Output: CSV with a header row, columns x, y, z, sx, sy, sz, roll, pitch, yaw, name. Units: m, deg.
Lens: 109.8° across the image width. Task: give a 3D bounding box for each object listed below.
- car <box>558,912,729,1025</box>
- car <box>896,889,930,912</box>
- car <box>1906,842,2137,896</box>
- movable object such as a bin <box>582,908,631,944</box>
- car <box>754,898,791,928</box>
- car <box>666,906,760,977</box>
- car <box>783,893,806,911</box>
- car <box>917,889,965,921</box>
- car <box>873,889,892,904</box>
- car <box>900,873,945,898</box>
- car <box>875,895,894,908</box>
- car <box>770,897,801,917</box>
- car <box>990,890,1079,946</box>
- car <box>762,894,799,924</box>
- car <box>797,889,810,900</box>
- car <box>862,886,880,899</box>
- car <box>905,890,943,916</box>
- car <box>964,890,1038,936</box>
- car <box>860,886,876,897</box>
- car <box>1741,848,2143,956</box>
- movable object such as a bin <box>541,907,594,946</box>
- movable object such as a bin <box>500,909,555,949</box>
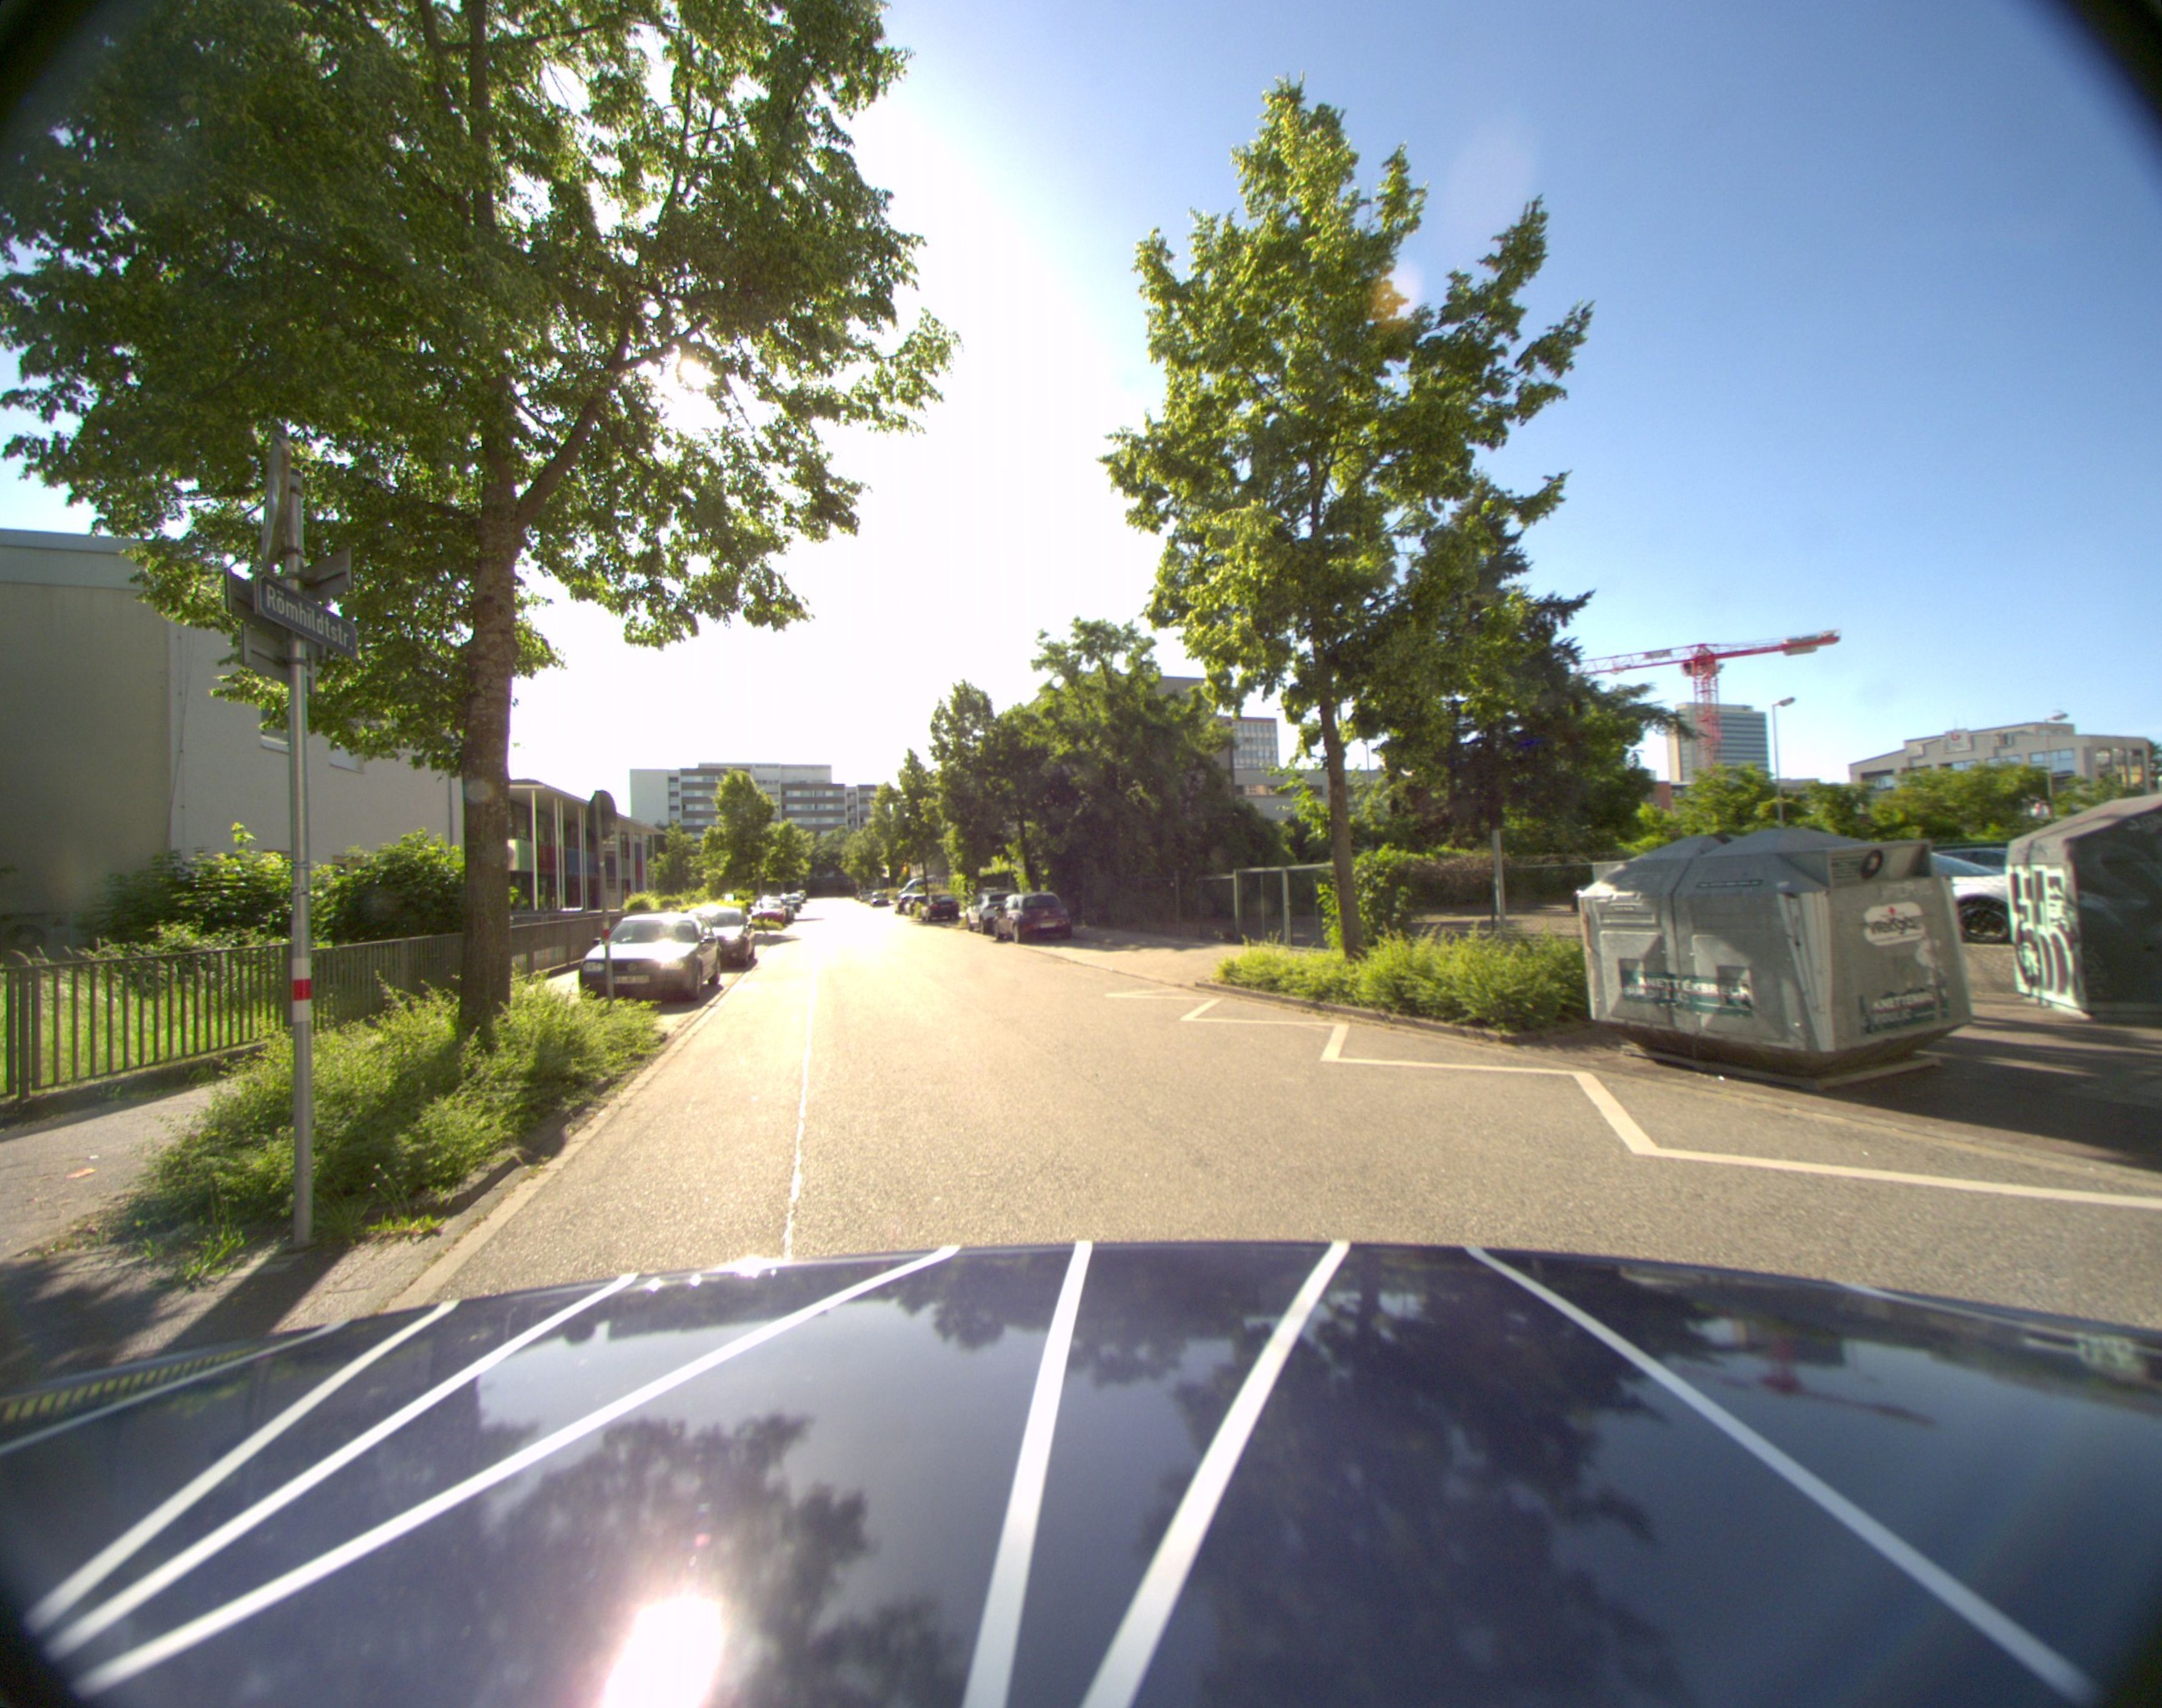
x,y,z,sx,sy,sz,roll,pitch,yaw,name
-7.644,1.895,13.747,1.753,1.413,4.418,-3,-1,-18,car
-12.426,3.392,56.049,1.848,1.465,4.094,-4,-1,-19,car
30.098,0.538,24.529,1.899,1.550,4.238,-2,-2,-19,car
-19.930,2.993,31.976,1.372,1.349,1.629,-2,-2,-18,movable object such as a bin
-17.192,3.241,42.437,1.682,1.494,3.842,-2,-2,-20,car
-9.465,2.174,19.809,1.791,1.506,3.995,-1,-2,-20,car
-26.917,4.493,71.494,1.826,1.637,4.482,1,-3,-19,car
-7.642,2.740,41.252,1.848,1.465,4.354,-4,-1,-19,car
-21.984,4.728,84.132,1.633,1.515,3.558,-2,-2,-20,car
-19.989,3.952,95.968,5.161,2.884,2.011,-2,-1,-23,car
-20.339,4.911,78.433,1.633,1.240,3.558,-2,-2,-18,car
-21.209,3.784,54.446,1.971,1.311,4.769,1,-3,-22,car
-1.543,1.939,23.786,1.724,1.465,3.541,-4,-1,-21,car
-18.807,3.399,47.717,1.908,1.672,4.405,0,-2,-18,car
-37.917,5.528,103.807,1.647,1.458,3.698,1,-1,-19,car
-28.358,5.181,102.587,1.798,1.590,3.884,-3,-1,-21,car
-10.458,3.208,50.447,1.848,1.465,4.022,-4,-1,-19,car
-3.131,2.165,28.831,1.848,1.465,3.997,-4,-1,-19,car
-31.096,5.486,111.008,1.798,1.509,3.884,-3,-1,-21,car
15.401,0.833,14.022,2.001,1.599,4.422,-2,-2,-16,car
-21.304,2.991,31.559,1.372,1.439,1.629,-2,-2,-18,movable object such as a bin
-22.625,3.043,31.091,1.335,1.439,1.629,-2,-2,-18,movable object such as a bin
